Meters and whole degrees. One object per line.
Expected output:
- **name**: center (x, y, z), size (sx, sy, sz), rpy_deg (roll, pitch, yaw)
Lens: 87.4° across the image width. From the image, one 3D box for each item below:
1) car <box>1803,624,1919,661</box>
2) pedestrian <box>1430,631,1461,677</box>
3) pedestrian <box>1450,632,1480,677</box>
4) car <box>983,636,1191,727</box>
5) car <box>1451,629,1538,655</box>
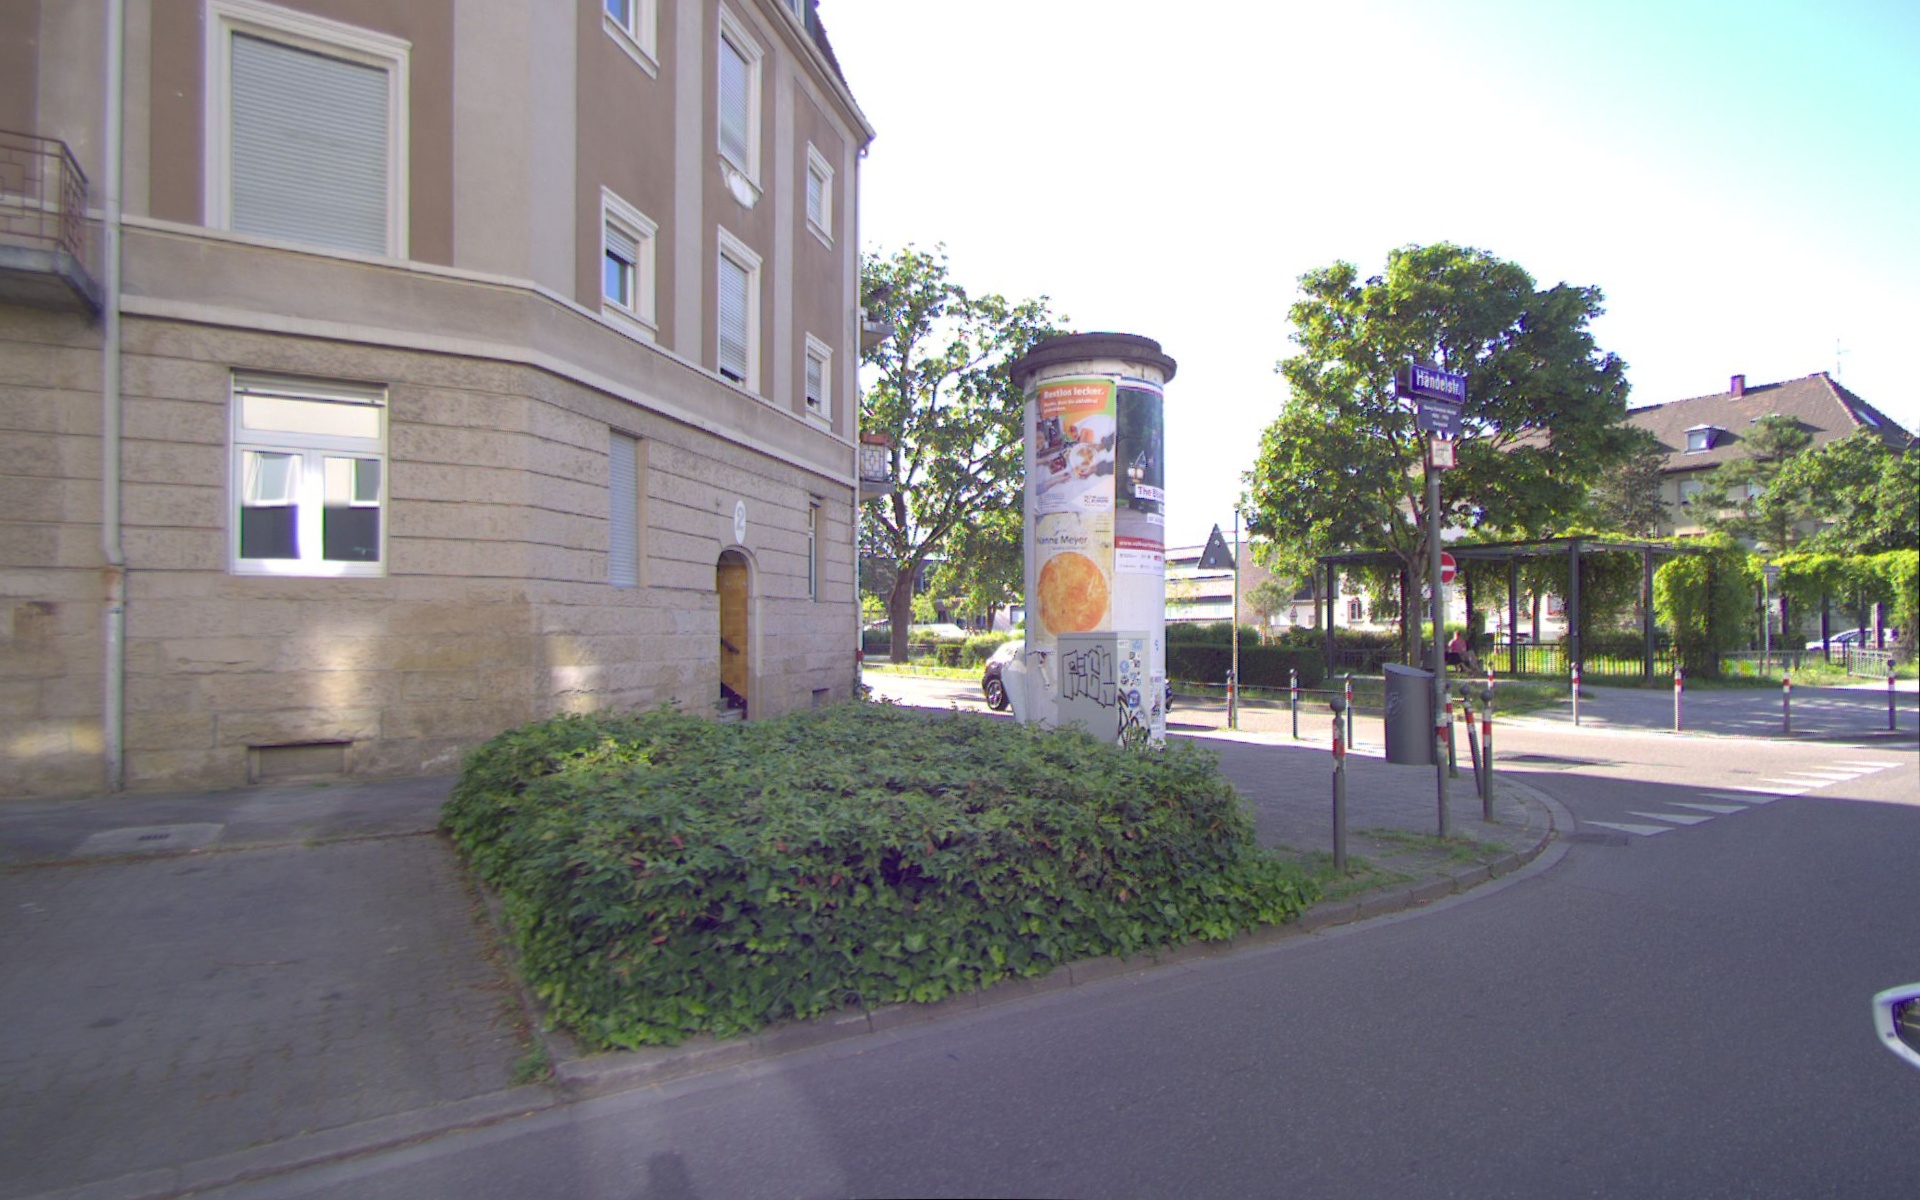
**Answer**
- **car**: center (38.312, 1.759, 42.280), size (1.979, 1.394, 3.963), rpy_deg (2, -1, -33)
- **pedestrian**: center (12.956, 1.439, 26.799), size (0.477, 1.184, 0.543), rpy_deg (2, 0, -29)
- **pedestrian**: center (13.693, 1.468, 27.249), size (0.477, 1.184, 0.543), rpy_deg (2, 0, -29)
- **car**: center (2.267, 1.471, 18.972), size (1.785, 1.504, 4.120), rpy_deg (4, -4, -29)
- **car**: center (30.056, 2.366, 56.589), size (1.846, 1.394, 3.964), rpy_deg (1, -3, -33)
